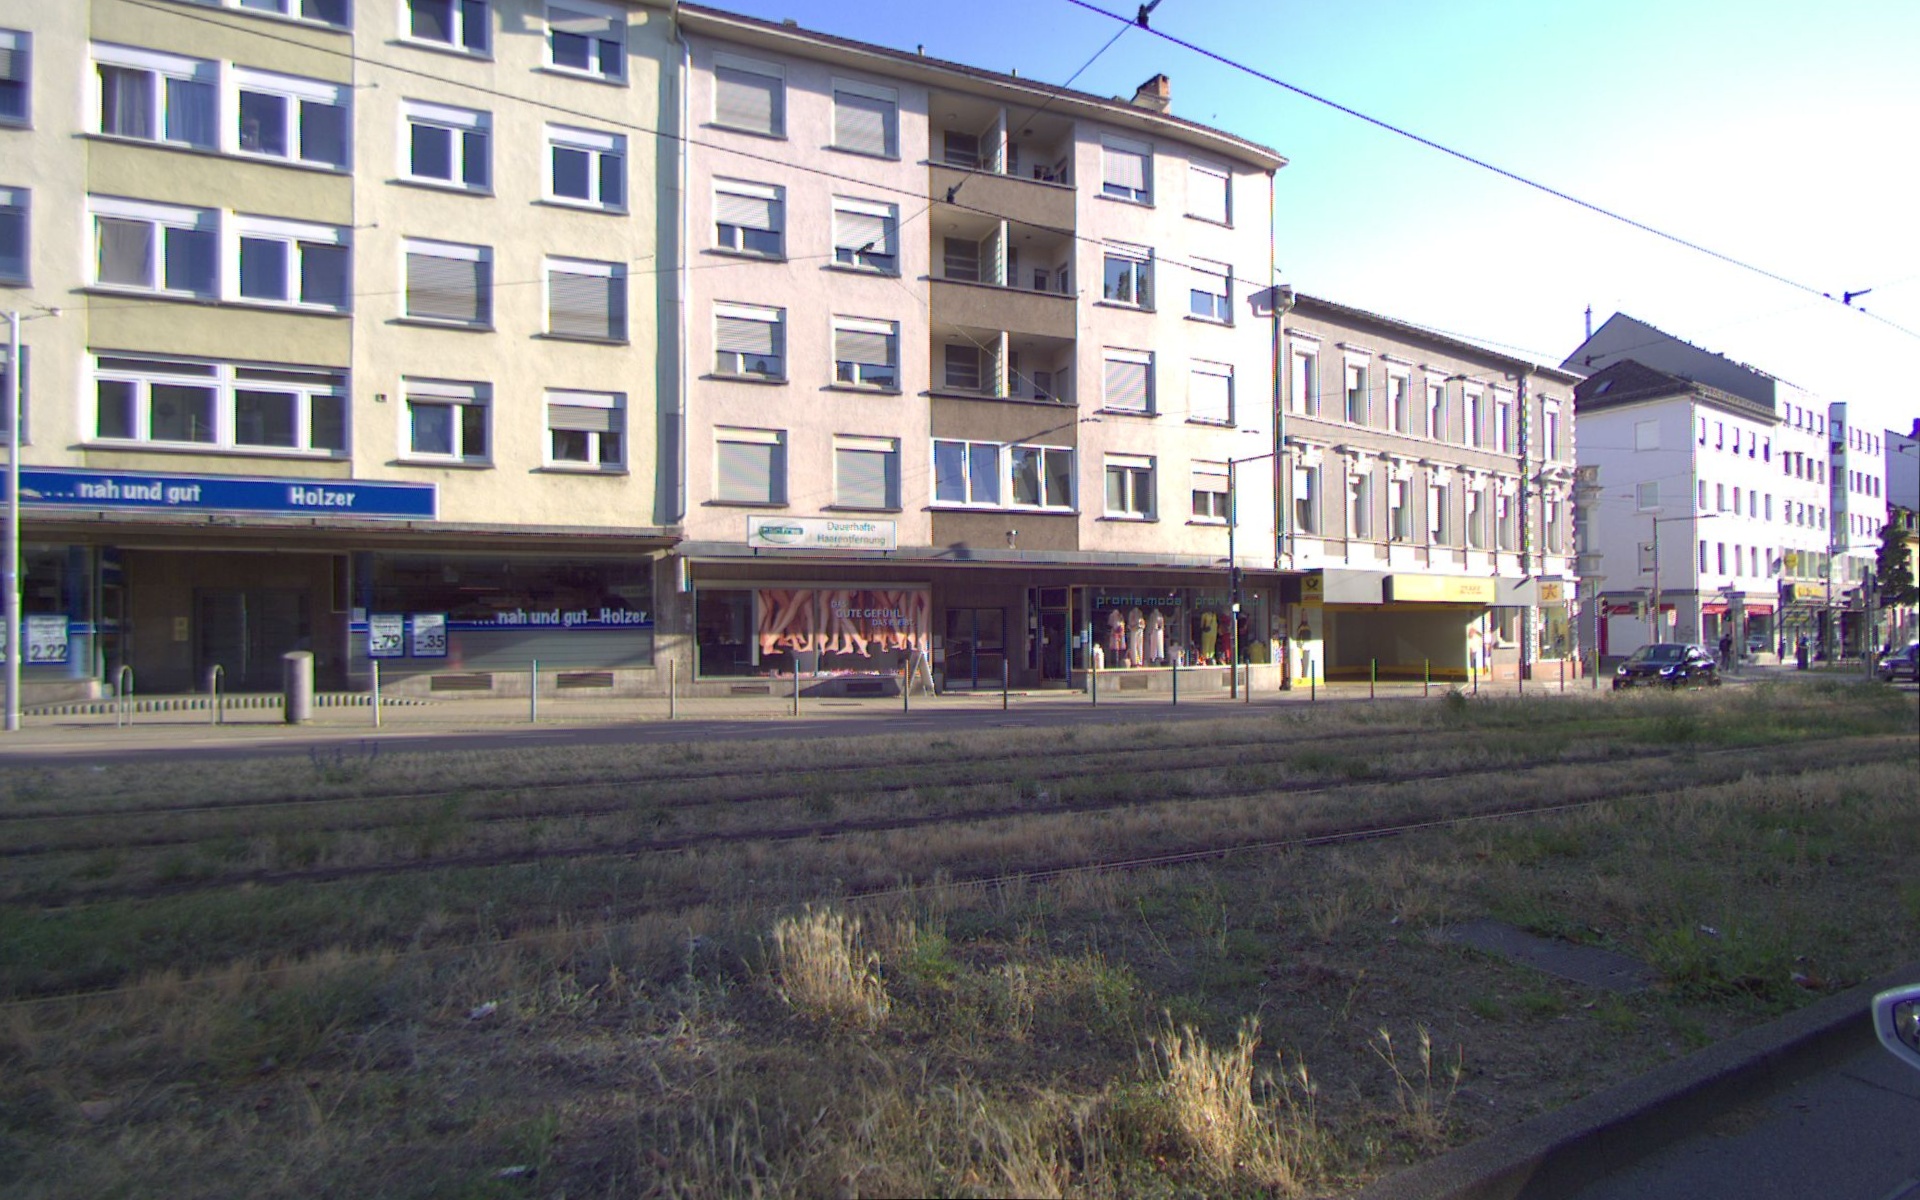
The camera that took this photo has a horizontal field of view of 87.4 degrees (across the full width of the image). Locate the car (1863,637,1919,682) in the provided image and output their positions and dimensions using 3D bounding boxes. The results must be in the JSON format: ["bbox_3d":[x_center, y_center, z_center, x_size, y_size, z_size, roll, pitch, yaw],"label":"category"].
[{"bbox_3d":[36.188,2.208,37.775,4.718,1.579,1.984,2,-2,-30],"label":"car"}]

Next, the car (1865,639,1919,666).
[{"bbox_3d":[52.177,2.849,54.274,4.465,1.431,1.999,0,-2,24],"label":"car"}]

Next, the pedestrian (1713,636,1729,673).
[{"bbox_3d":[35.815,2.550,47.277,0.501,1.736,0.424,1,-2,-26],"label":"pedestrian"}]

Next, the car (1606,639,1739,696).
[{"bbox_3d":[20.102,1.892,28.347,3.434,1.528,1.716,2,-4,-29],"label":"car"}]
